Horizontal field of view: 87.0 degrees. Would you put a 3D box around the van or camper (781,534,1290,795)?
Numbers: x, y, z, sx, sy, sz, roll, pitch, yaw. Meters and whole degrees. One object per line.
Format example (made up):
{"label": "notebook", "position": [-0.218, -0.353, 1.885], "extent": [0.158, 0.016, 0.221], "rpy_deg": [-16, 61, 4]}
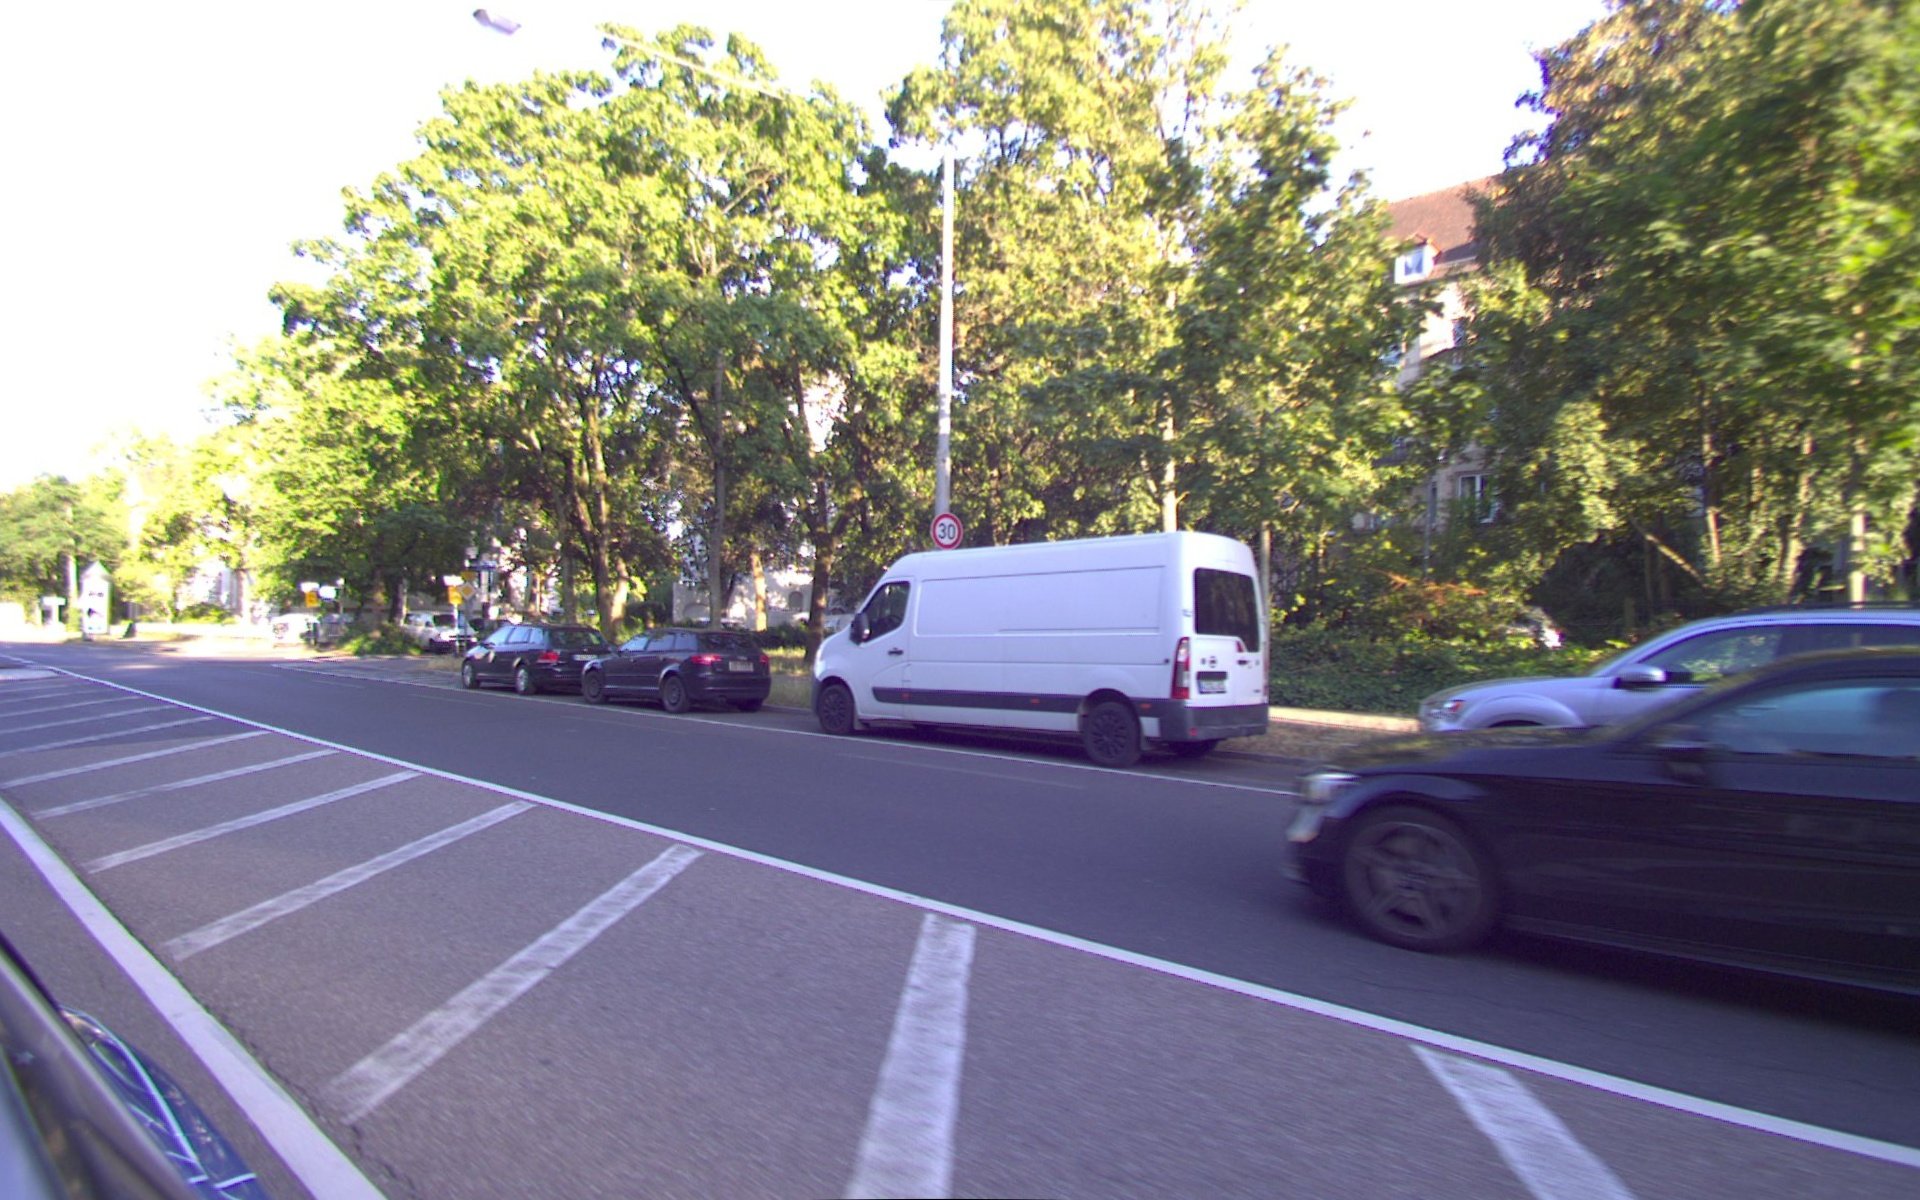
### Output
{"label": "van or camper", "position": [0.624, 0.722, 12.532], "extent": [6.302, 2.487, 2.069], "rpy_deg": [-1, -4, 41]}

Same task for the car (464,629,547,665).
{"label": "car", "position": [-21.943, 2.226, 48.822], "extent": [3.994, 1.674, 1.975], "rpy_deg": [-1, -2, 38]}

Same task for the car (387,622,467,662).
{"label": "car", "position": [-25.016, 1.938, 47.467], "extent": [3.994, 1.809, 1.801], "rpy_deg": [-1, -2, 38]}

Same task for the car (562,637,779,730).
{"label": "car", "position": [-5.186, 1.399, 17.867], "extent": [4.240, 1.440, 1.611], "rpy_deg": [-1, -4, 41]}

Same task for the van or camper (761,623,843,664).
{"label": "van or camper", "position": [-9.975, 2.673, 63.466], "extent": [5.423, 2.490, 2.045], "rpy_deg": [-1, -2, 40]}

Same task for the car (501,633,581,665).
{"label": "car", "position": [-21.007, 2.423, 50.701], "extent": [3.994, 1.551, 1.975], "rpy_deg": [-1, -2, 38]}

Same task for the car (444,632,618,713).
{"label": "car", "position": [-9.171, 1.461, 21.448], "extent": [4.543, 1.518, 1.606], "rpy_deg": [-1, -3, 42]}

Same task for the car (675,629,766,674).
{"label": "car", "position": [-10.881, 2.283, 45.898], "extent": [3.994, 1.896, 1.975], "rpy_deg": [-1, -1, 38]}

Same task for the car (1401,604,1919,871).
{"label": "car", "position": [5.961, 0.910, 7.555], "extent": [4.569, 1.657, 1.846], "rpy_deg": [-1, -4, 41]}

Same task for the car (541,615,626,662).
{"label": "car", "position": [-19.643, 1.965, 52.713], "extent": [5.100, 2.306, 2.190], "rpy_deg": [-2, -2, 44]}

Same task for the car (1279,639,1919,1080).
{"label": "car", "position": [3.770, 0.886, 3.914], "extent": [4.543, 1.413, 1.747], "rpy_deg": [-1, -3, 42]}
